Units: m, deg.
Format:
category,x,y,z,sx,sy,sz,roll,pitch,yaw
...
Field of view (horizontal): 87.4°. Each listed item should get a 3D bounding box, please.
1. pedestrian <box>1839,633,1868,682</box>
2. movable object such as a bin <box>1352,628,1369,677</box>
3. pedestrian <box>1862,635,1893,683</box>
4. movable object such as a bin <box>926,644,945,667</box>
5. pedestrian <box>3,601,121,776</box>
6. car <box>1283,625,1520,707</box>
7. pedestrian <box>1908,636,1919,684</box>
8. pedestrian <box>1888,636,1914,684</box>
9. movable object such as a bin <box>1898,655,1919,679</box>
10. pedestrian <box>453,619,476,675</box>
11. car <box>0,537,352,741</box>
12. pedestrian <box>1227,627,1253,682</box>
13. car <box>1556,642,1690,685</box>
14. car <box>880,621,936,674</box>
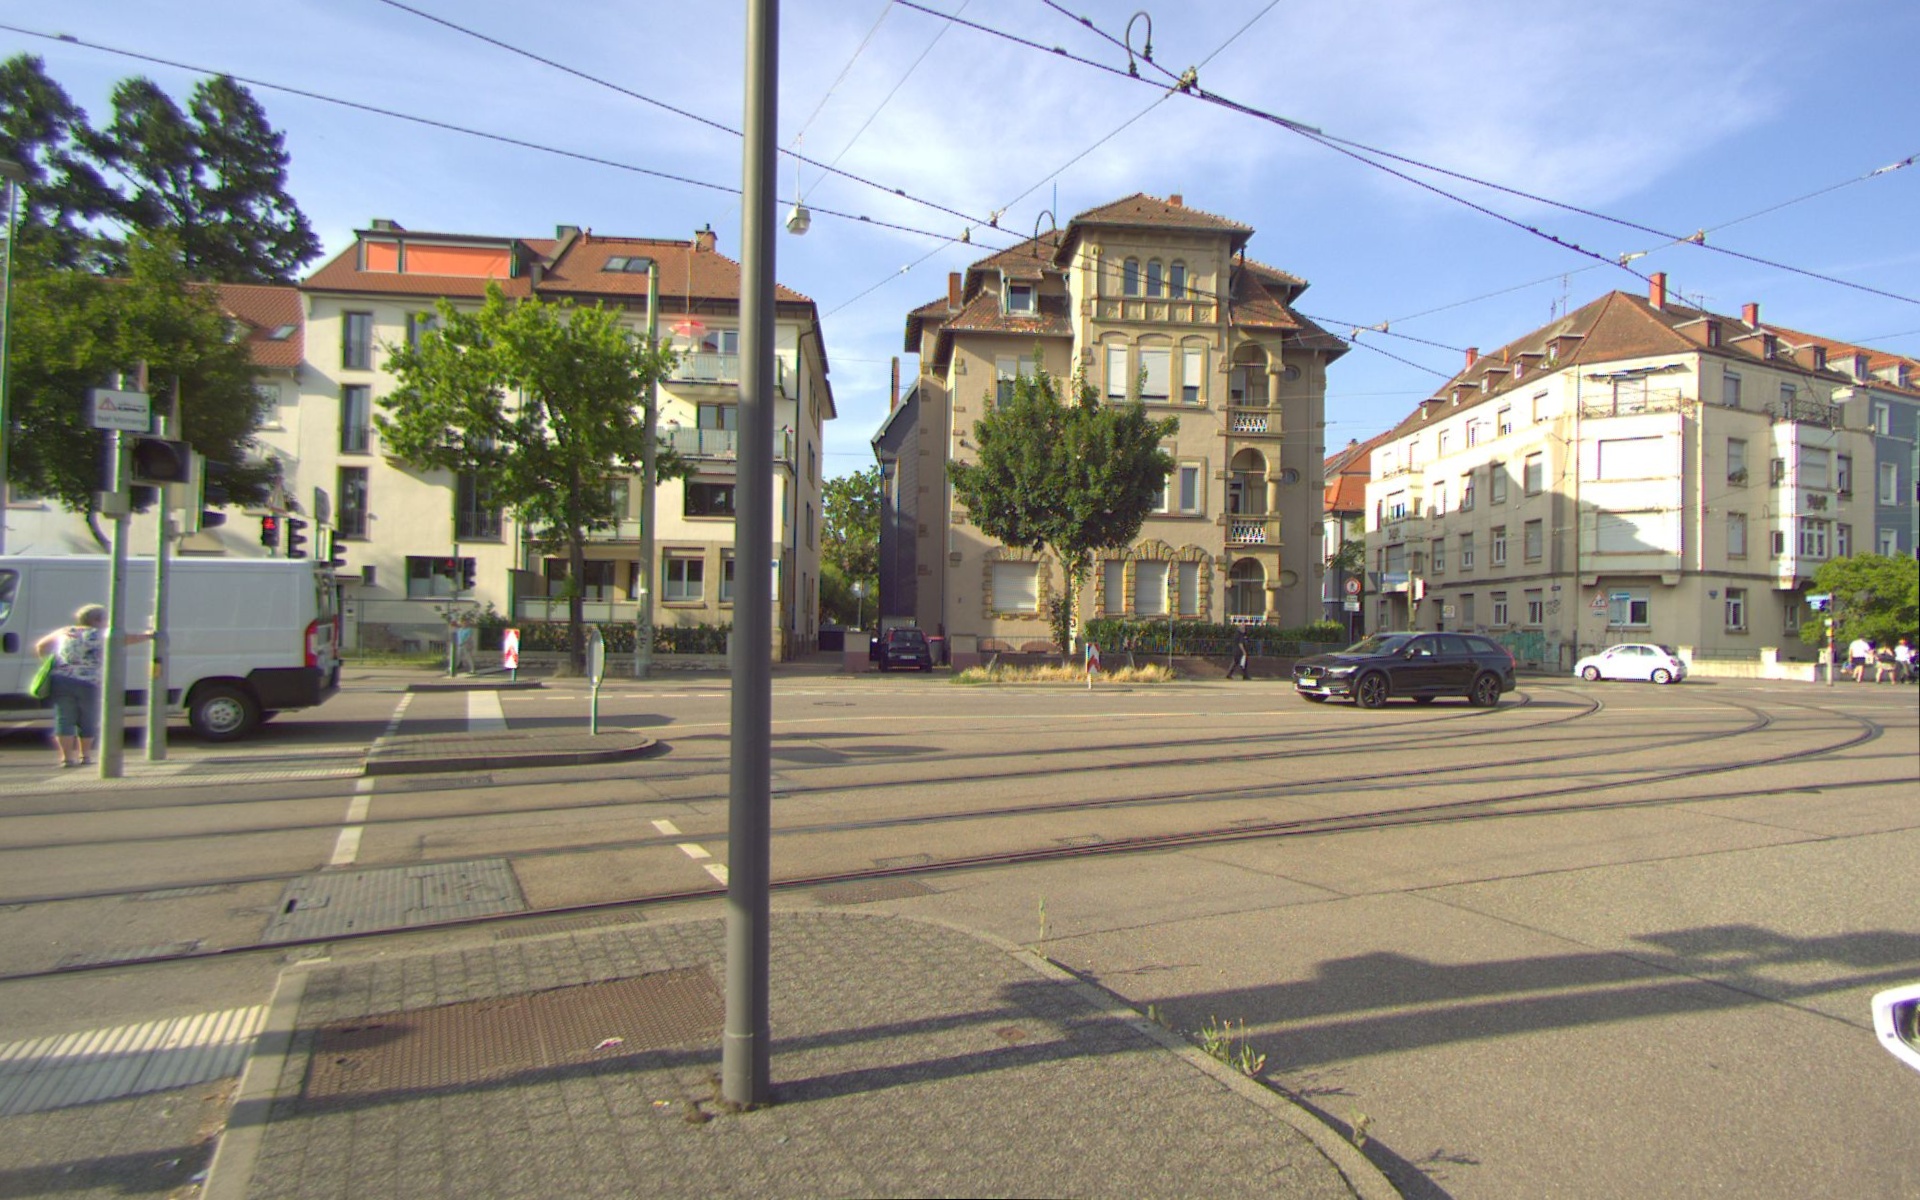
category,x,y,z,sx,sy,sz,roll,pitch,yaw
pedestrian,35.433,2.262,39.846,0.618,1.905,0.657,1,-2,-25
movable object such as a bin,14.612,1.886,36.631,0.259,1.732,2.378,0,-2,30
pedestrian,35.877,2.303,39.292,0.640,1.872,0.673,1,-2,-21
movable object such as a bin,-0.916,2.036,37.171,0.599,0.825,0.654,1,-2,-12
pedestrian,-8.645,0.833,9.699,0.708,1.610,0.587,2,-2,-33
car,9.102,1.282,20.679,4.677,1.514,1.763,0,-1,-23
pedestrian,38.242,2.375,39.937,0.618,1.905,0.583,1,-2,-23
pedestrian,37.829,2.396,40.386,0.618,1.905,0.583,1,-2,-25
movable object such as a bin,38.632,2.721,40.753,0.653,0.959,0.582,2,-2,-19
pedestrian,-13.704,1.307,27.776,0.382,1.535,0.405,1,-2,-2
car,-10.705,0.472,12.405,5.182,2.268,2.171,2,-2,-25
pedestrian,8.710,1.675,31.251,0.592,1.673,0.681,1,-1,-2
car,25.298,2.388,38.416,1.786,1.476,3.953,2,-2,-40
car,-1.772,1.571,33.589,1.742,1.653,3.998,1,-2,-4
